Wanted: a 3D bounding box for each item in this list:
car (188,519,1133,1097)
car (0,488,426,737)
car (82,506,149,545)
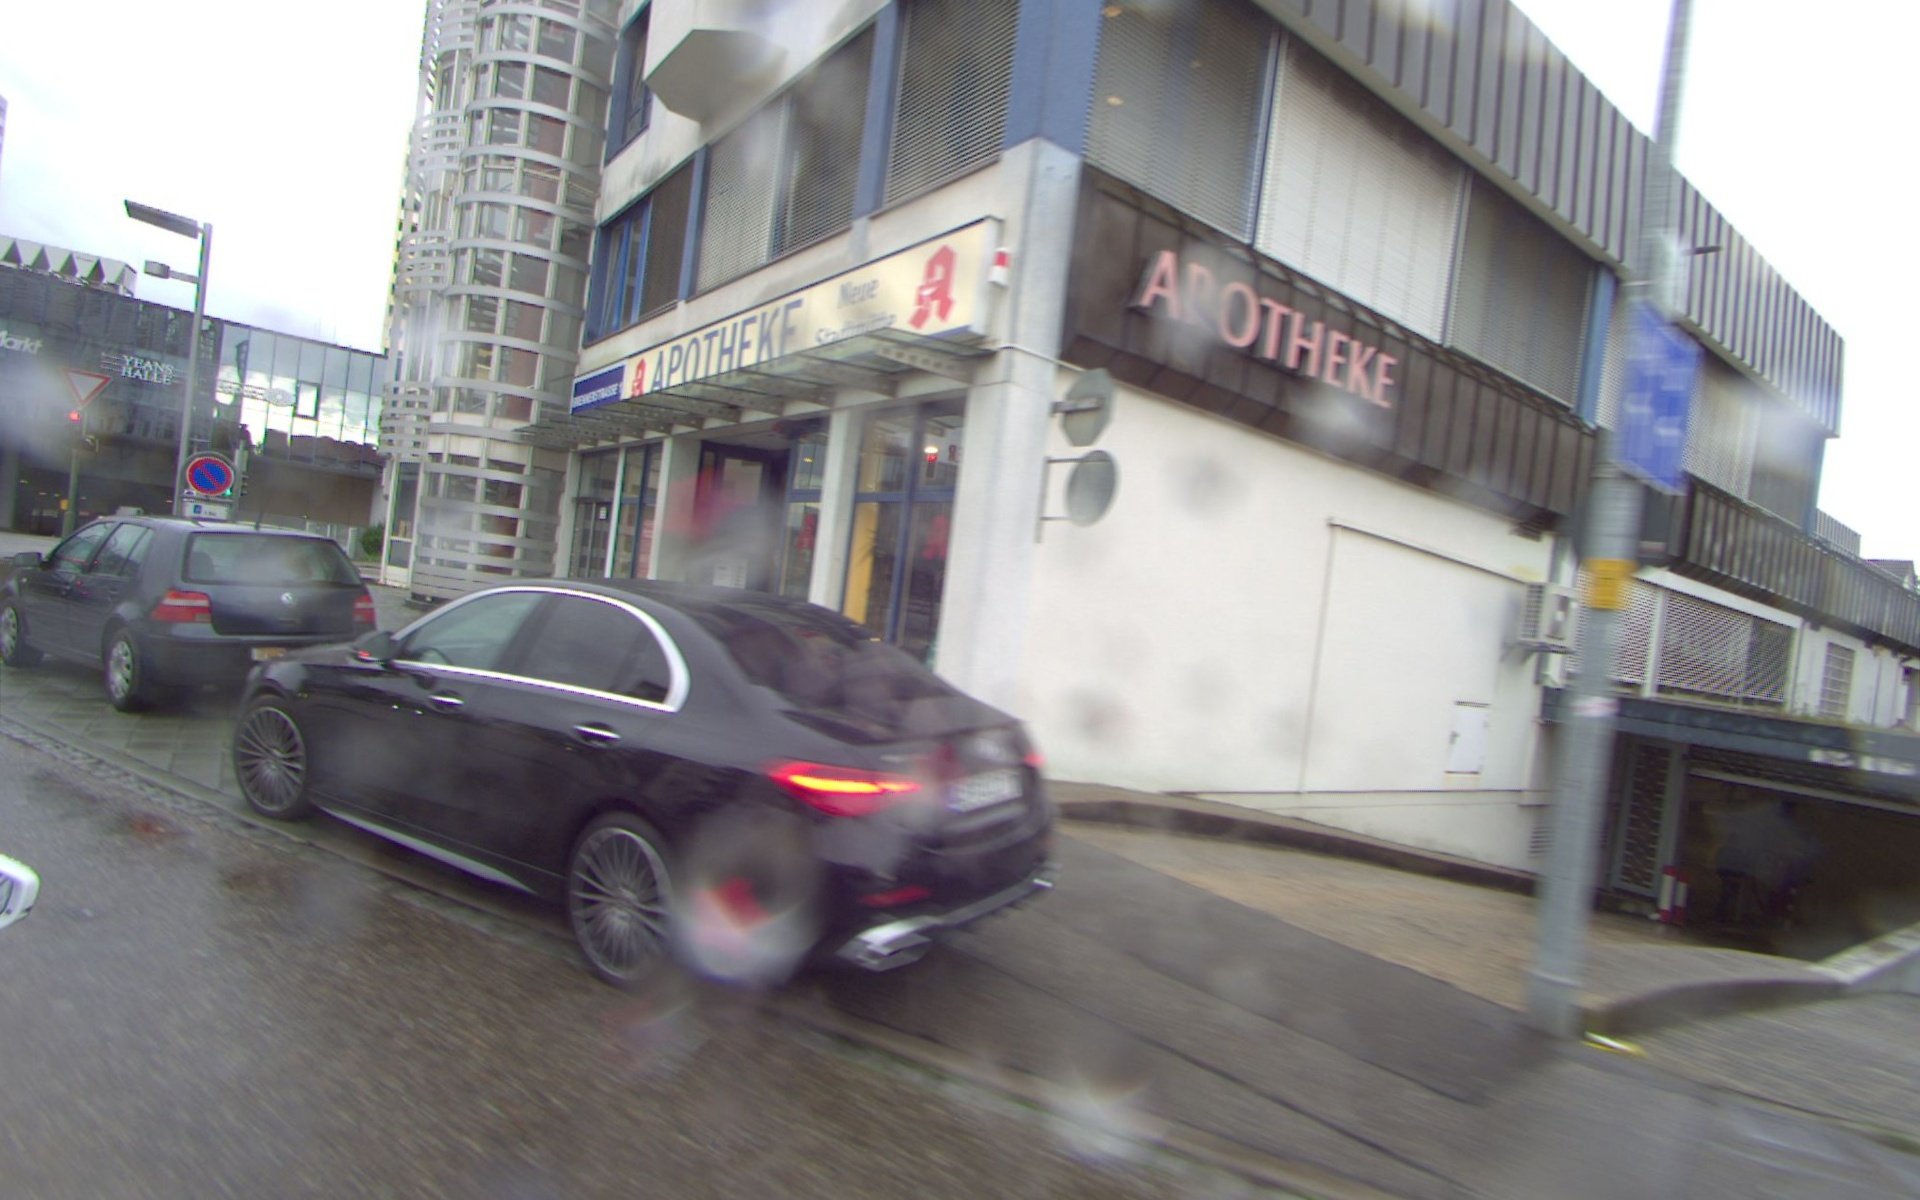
[{"bbox_3d":[-1.712,0.600,5.076,4.572,1.551,1.996,6,-2,34],"label":"car"},{"bbox_3d":[-6.494,-0.013,8.558,3.934,1.506,1.697,7,3,33],"label":"car"},{"bbox_3d":[-44.801,-3.960,53.452,1.979,1.738,3.967,7,0,-31],"label":"car"}]
